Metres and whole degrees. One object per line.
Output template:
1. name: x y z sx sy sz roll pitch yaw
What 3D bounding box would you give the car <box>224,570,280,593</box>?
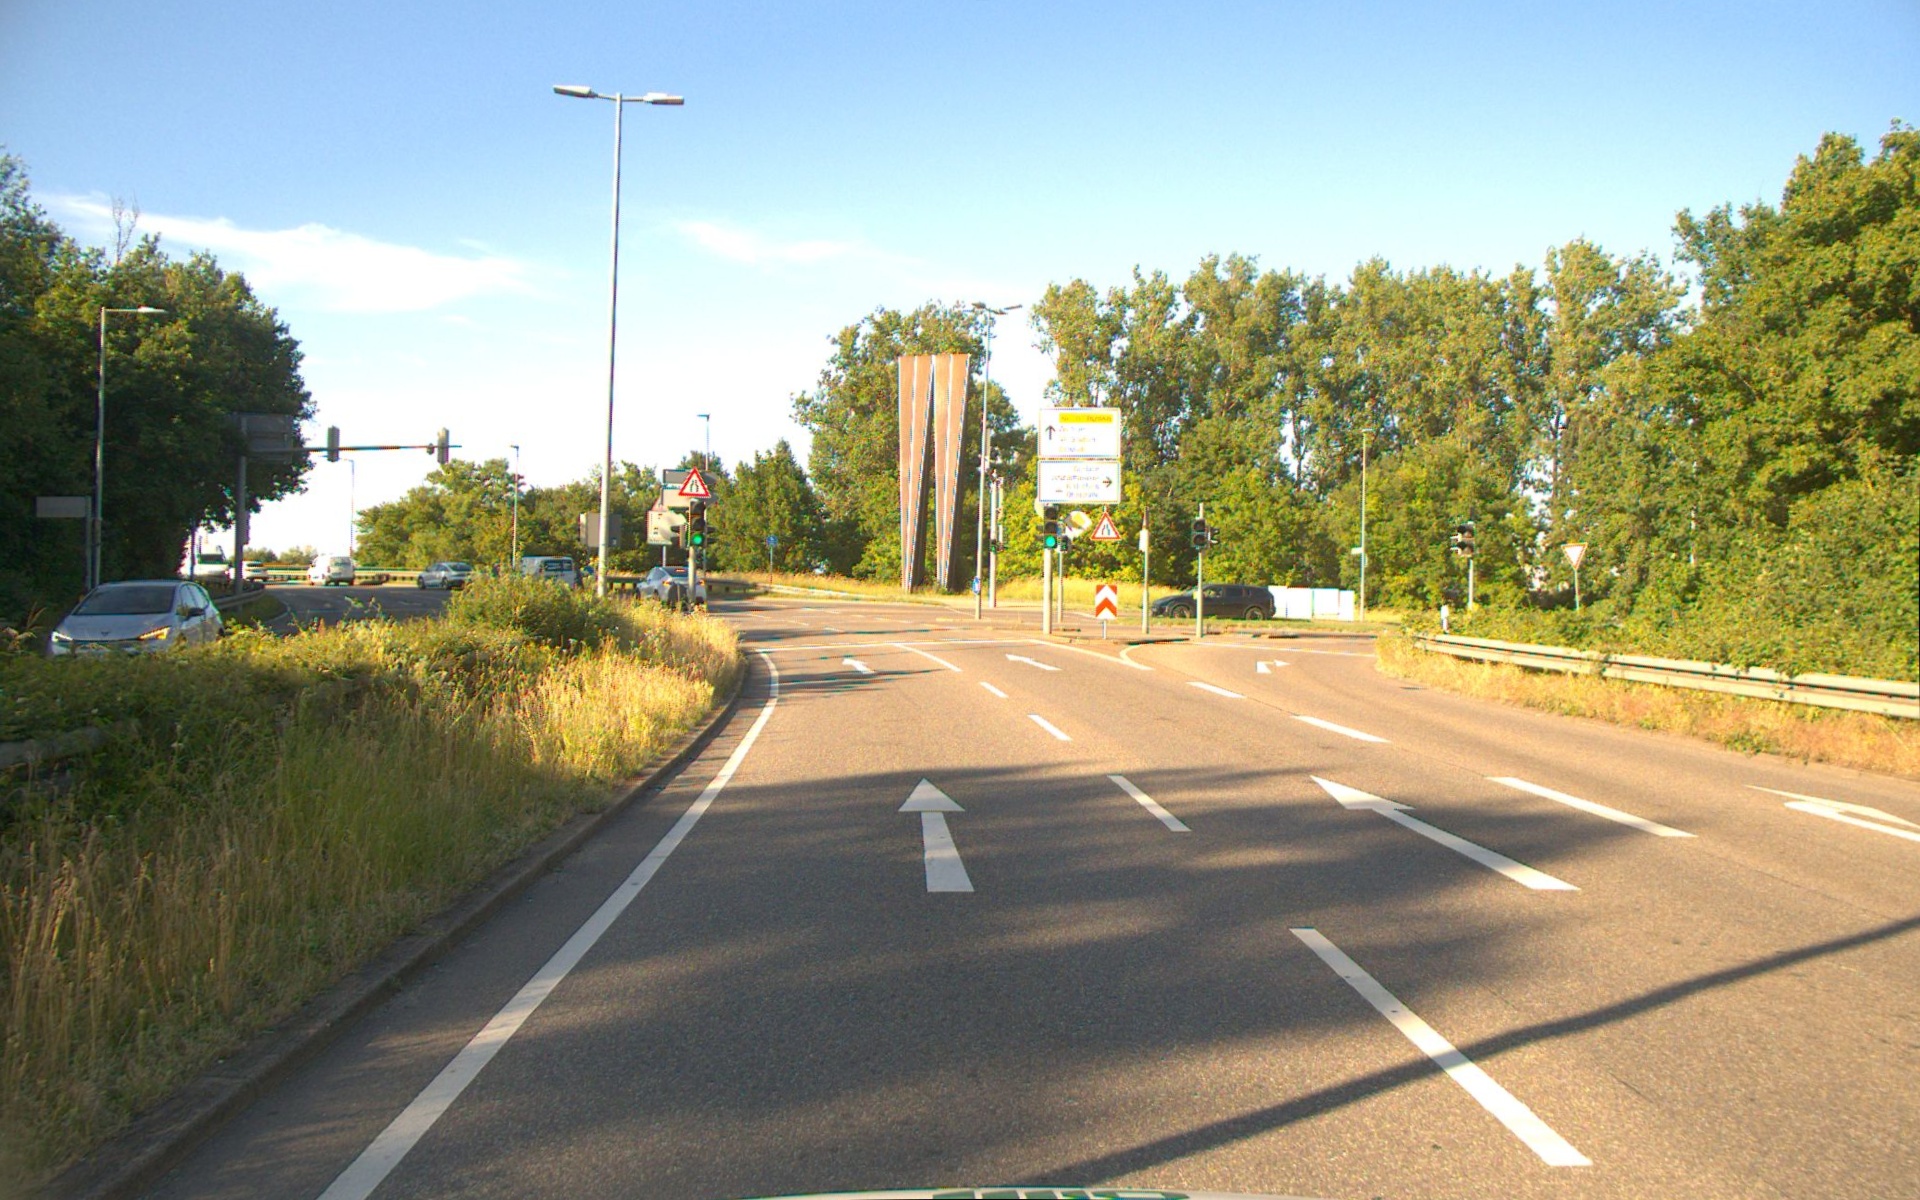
1. car: -50.011 -1.297 116.836 3.931 1.534 2.259 1 0 43

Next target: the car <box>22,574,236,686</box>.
1. car: -12.552 0.383 25.264 1.852 1.547 4.205 0 1 -11

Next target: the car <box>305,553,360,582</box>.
1. car: -39.025 -2.009 102.823 1.958 1.728 3.941 0 2 -41

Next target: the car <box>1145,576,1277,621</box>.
1. car: 9.175 -0.059 60.670 4.374 1.489 1.997 1 1 -8

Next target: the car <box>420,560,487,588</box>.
1. car: -28.168 -1.461 91.991 1.960 1.500 4.088 0 2 -44

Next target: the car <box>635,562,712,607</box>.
1. car: -11.144 -0.619 64.211 1.968 1.668 4.096 0 1 -25

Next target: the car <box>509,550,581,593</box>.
1. car: -19.294 -1.318 76.797 1.976 1.912 4.199 0 1 -34
